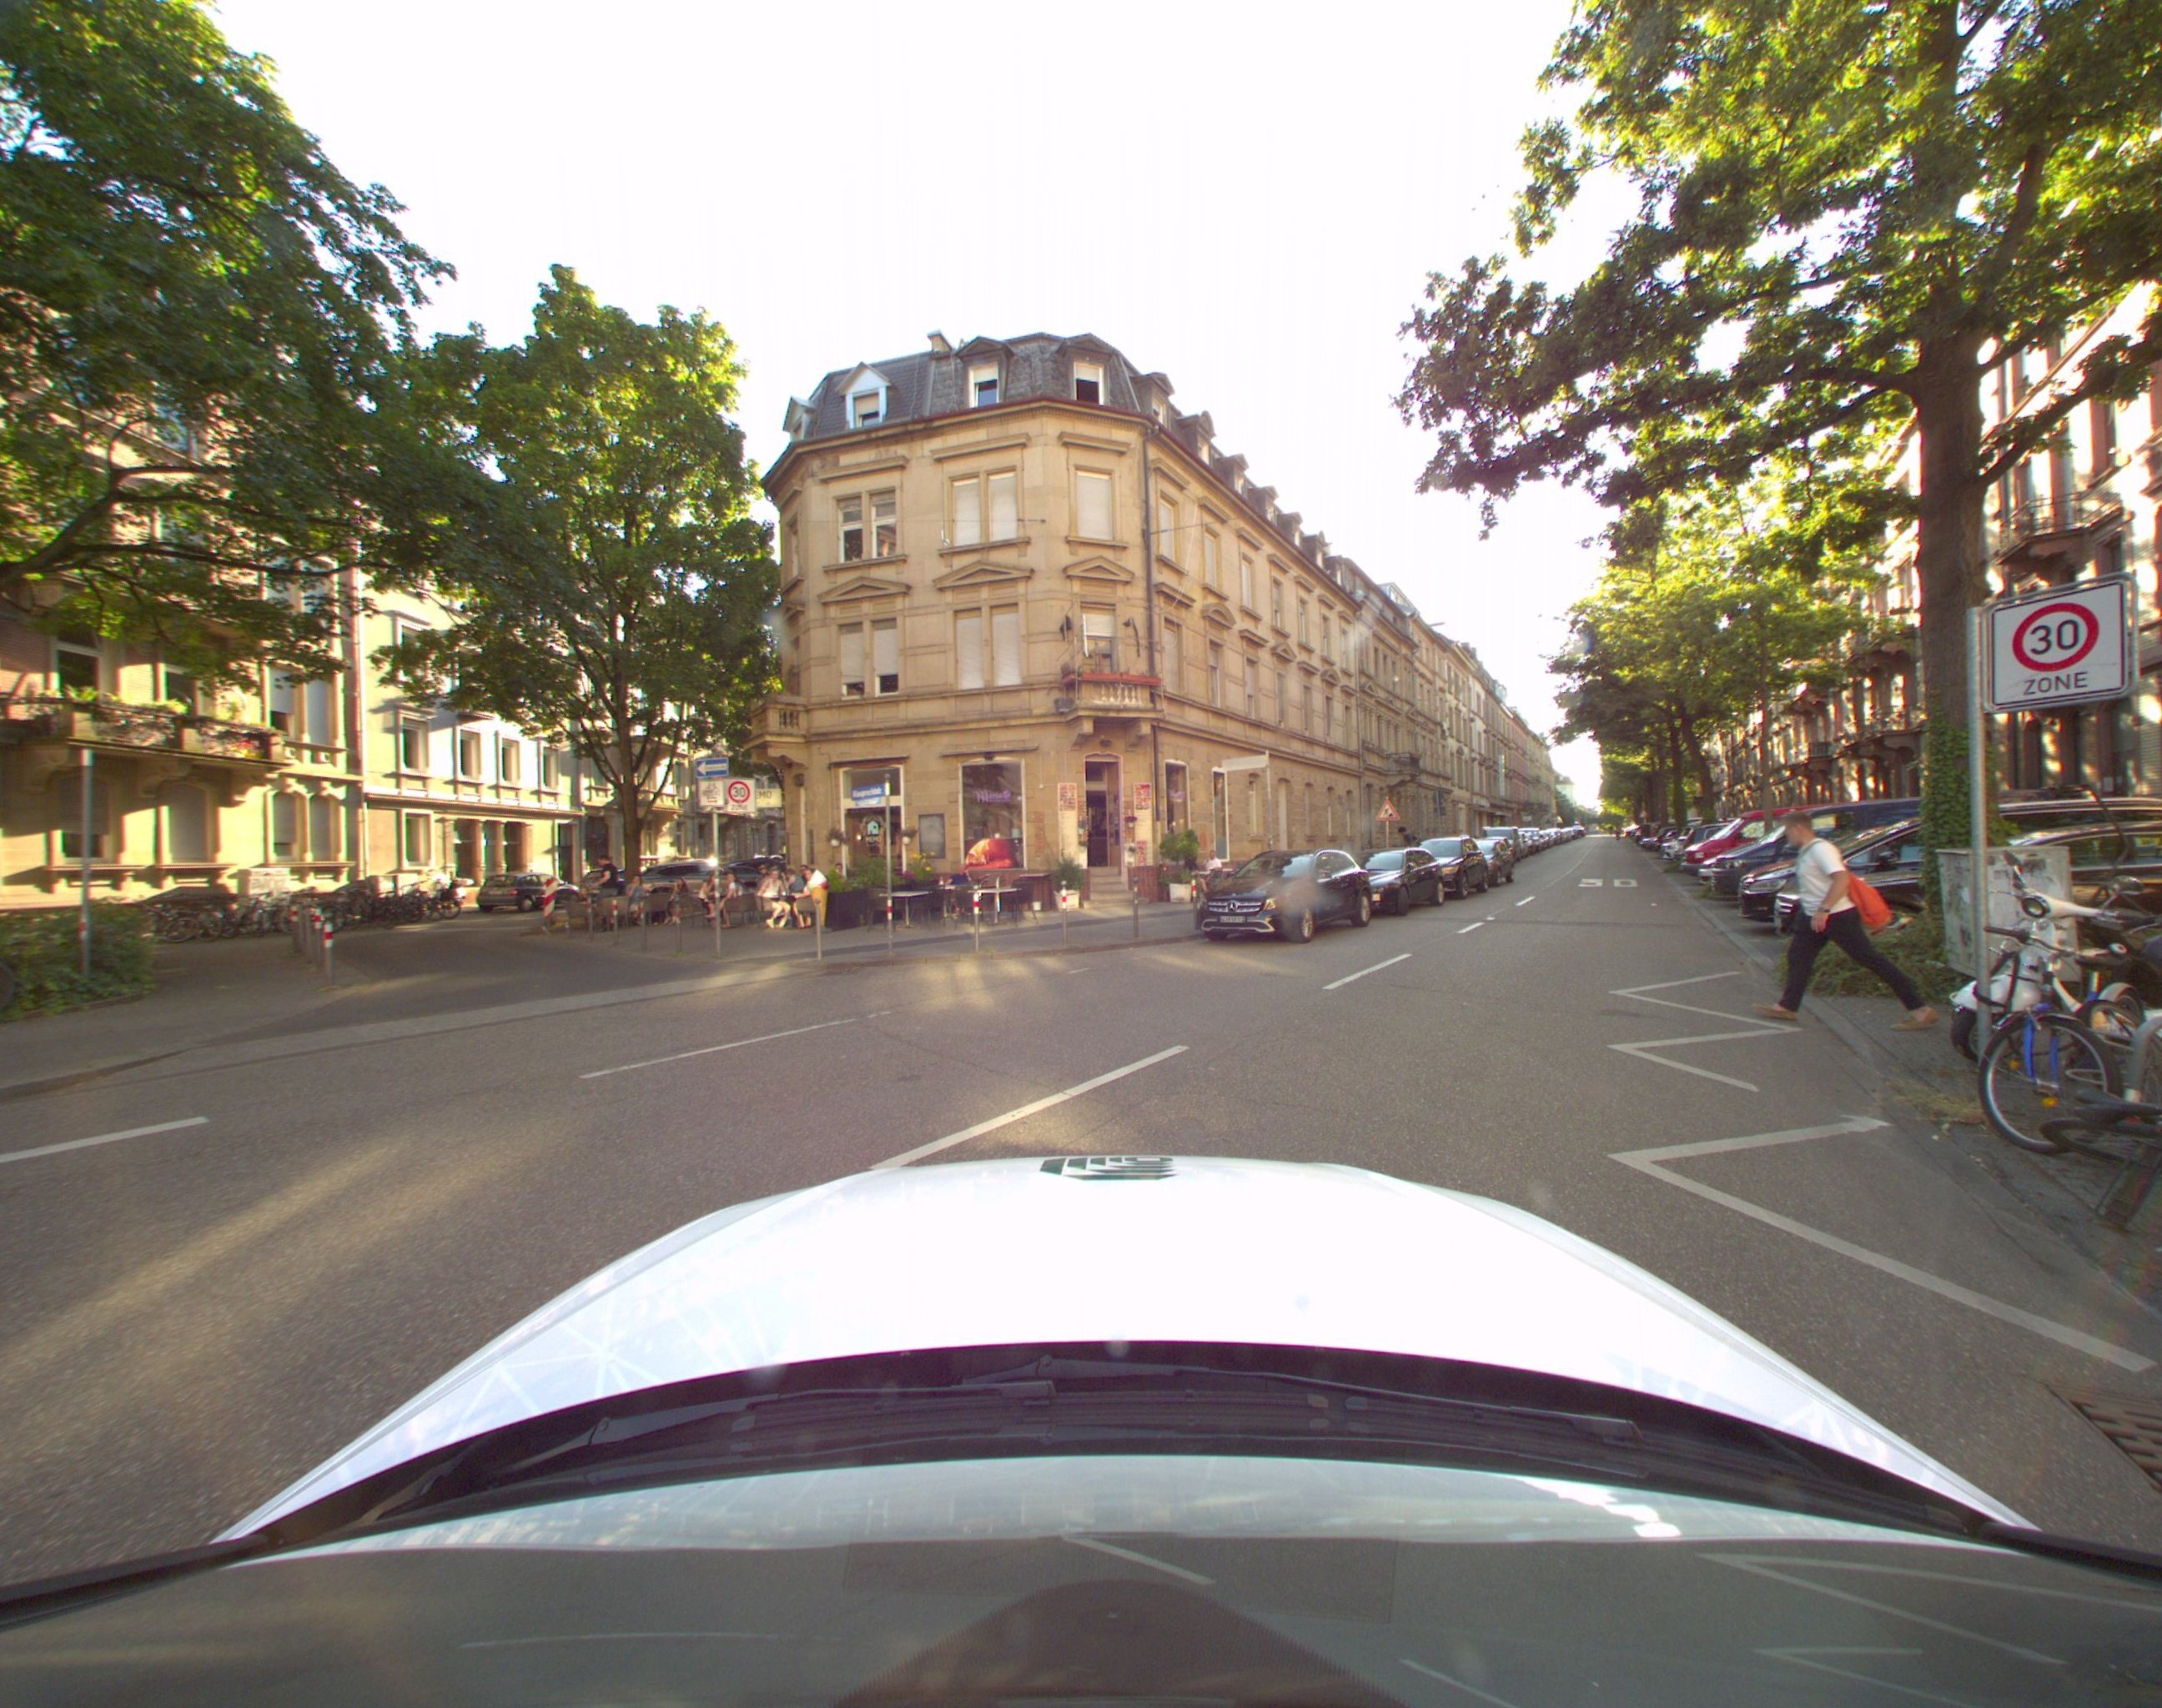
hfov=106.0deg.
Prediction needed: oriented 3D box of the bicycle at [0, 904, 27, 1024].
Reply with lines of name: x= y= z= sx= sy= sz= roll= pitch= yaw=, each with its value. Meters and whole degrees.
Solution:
bicycle: x=-12.026 y=1.163 z=7.394 sx=0.541 sy=1.196 sz=2.978 roll=-2 pitch=0 yaw=38

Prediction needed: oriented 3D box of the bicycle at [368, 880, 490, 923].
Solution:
bicycle: x=-20.392 y=1.476 z=25.513 sx=3.118 sy=1.180 sz=0.751 roll=-2 pitch=0 yaw=-2

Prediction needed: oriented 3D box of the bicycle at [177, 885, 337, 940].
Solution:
bicycle: x=-20.440 y=1.444 z=20.245 sx=3.118 sy=1.180 sz=0.751 roll=-2 pitch=0 yaw=-2

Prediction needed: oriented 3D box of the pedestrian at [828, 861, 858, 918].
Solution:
pedestrian: x=-5.812 y=0.858 z=19.876 sx=0.476 sy=1.367 sz=0.436 roll=-2 pitch=1 yaw=25

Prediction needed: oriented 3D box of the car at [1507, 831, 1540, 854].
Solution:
car: x=30.474 y=-0.804 z=56.016 sx=1.741 sy=1.467 sz=4.026 roll=0 pitch=2 yaw=32

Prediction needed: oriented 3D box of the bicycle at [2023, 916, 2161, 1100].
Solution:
bicycle: x=6.257 y=0.776 z=4.089 sx=1.911 sy=0.927 sz=0.357 roll=-5 pitch=-2 yaw=33

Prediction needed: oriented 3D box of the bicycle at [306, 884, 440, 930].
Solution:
bicycle: x=-20.418 y=1.517 z=23.523 sx=3.118 sy=1.180 sz=0.751 roll=-2 pitch=0 yaw=-2

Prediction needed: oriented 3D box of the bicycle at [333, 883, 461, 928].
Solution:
bicycle: x=-20.431 y=1.538 z=24.368 sx=3.118 sy=1.180 sz=0.751 roll=-2 pitch=0 yaw=-2

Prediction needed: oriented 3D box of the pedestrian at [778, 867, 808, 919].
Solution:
pedestrian: x=-7.095 y=0.958 z=20.048 sx=0.476 sy=1.248 sz=0.436 roll=-2 pitch=1 yaw=31

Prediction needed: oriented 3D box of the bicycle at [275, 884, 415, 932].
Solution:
bicycle: x=-20.465 y=1.498 z=22.678 sx=3.118 sy=1.180 sz=0.751 roll=-2 pitch=0 yaw=-2

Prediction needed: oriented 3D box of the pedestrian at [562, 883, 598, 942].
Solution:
pedestrian: x=-11.881 y=1.370 z=19.311 sx=0.499 sy=1.320 sz=0.575 roll=-2 pitch=1 yaw=44

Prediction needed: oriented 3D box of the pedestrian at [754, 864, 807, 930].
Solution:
pedestrian: x=-6.632 y=0.937 z=17.969 sx=0.748 sy=1.411 sz=0.731 roll=-2 pitch=0 yaw=22

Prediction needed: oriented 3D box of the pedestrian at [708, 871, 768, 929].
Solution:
pedestrian: x=-7.778 y=1.032 z=18.461 sx=1.011 sy=1.248 sz=0.754 roll=-2 pitch=1 yaw=31

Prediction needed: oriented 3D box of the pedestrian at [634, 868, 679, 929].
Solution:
pedestrian: x=-10.500 y=1.091 z=20.129 sx=0.771 sy=1.441 sz=0.660 roll=-3 pitch=-1 yaw=-44

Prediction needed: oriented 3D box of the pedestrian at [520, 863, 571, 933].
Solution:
pedestrian: x=-13.305 y=1.083 z=20.241 sx=0.659 sy=1.669 sz=0.772 roll=-4 pitch=0 yaw=32

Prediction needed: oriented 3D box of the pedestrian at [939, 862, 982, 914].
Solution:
pedestrian: x=-2.897 y=0.814 z=19.632 sx=0.720 sy=1.214 sz=0.760 roll=-2 pitch=0 yaw=15

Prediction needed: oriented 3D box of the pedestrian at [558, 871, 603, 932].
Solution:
pedestrian: x=-12.242 y=1.162 z=19.915 sx=0.771 sy=1.412 sz=0.660 roll=-3 pitch=-1 yaw=-42

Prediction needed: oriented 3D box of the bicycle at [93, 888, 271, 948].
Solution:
bicycle: x=-20.430 y=1.447 z=18.550 sx=3.118 sy=1.180 sz=0.751 roll=-2 pitch=0 yaw=-2

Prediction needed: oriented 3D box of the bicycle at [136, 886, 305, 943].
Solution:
bicycle: x=-20.455 y=1.433 z=19.395 sx=3.118 sy=1.180 sz=0.751 roll=-2 pitch=0 yaw=-2

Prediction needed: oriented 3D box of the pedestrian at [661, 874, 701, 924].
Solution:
pedestrian: x=-10.303 y=1.163 z=20.993 sx=0.659 sy=1.215 sz=0.681 roll=-4 pitch=-1 yaw=44

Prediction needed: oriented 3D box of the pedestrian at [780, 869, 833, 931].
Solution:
pedestrian: x=-5.908 y=0.983 z=17.558 sx=0.736 sy=1.289 sz=0.747 roll=-2 pitch=0 yaw=24

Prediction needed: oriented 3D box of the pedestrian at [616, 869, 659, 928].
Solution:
pedestrian: x=-11.303 y=1.127 z=20.758 sx=0.771 sy=1.441 sz=0.660 roll=-3 pitch=-1 yaw=-44

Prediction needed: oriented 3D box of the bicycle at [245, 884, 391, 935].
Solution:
bicycle: x=-20.446 y=1.479 z=21.867 sx=3.118 sy=1.180 sz=0.751 roll=-2 pitch=0 yaw=-2

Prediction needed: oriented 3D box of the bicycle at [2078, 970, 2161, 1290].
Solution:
bicycle: x=4.325 y=0.822 z=2.334 sx=1.917 sy=0.988 sz=0.498 roll=-4 pitch=-2 yaw=11

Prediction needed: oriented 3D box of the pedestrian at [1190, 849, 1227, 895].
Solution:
pedestrian: x=3.519 y=0.498 z=22.444 sx=0.718 sy=1.214 sz=0.761 roll=-2 pitch=0 yaw=32

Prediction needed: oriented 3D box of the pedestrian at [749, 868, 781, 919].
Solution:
pedestrian: x=-7.961 y=0.992 z=20.519 sx=0.476 sy=1.248 sz=0.514 roll=-2 pitch=1 yaw=31

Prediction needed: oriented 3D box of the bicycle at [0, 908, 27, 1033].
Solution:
bicycle: x=-11.559 y=1.179 z=7.037 sx=0.541 sy=1.196 sz=2.978 roll=-2 pitch=0 yaw=38

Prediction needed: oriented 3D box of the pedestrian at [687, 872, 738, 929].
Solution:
pedestrian: x=-8.553 y=1.065 z=18.914 sx=0.697 sy=1.248 sz=0.754 roll=-2 pitch=1 yaw=31

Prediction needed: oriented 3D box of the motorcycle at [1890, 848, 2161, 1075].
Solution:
motorcycle: x=6.228 y=0.605 z=4.813 sx=1.879 sy=1.234 sz=0.690 roll=-5 pitch=-2 yaw=34

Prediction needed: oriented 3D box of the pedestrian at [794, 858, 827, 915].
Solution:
pedestrian: x=-6.939 y=0.822 z=20.905 sx=0.563 sy=1.431 sz=0.485 roll=-2 pitch=1 yaw=23

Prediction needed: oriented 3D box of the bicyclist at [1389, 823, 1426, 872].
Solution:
bicyclist: x=12.489 y=-0.244 z=31.146 sx=0.986 sy=1.790 sz=1.215 roll=-3 pitch=-4 yaw=35

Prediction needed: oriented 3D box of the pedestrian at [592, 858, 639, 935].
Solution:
pedestrian: x=-11.177 y=0.999 z=19.552 sx=0.771 sy=1.770 sz=0.565 roll=-3 pitch=-1 yaw=-44

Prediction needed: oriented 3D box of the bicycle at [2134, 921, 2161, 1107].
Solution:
bicycle: x=5.134 y=0.819 z=3.524 sx=0.350 sy=0.927 sz=1.535 roll=-6 pitch=-3 yaw=41

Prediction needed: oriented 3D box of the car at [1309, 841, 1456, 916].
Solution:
car: x=7.047 y=0.506 z=18.742 sx=1.741 sy=1.451 sz=4.579 roll=-3 pitch=-1 yaw=39

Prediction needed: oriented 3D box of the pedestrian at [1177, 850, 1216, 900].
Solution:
pedestrian: x=3.038 y=0.551 z=21.370 sx=0.718 sy=1.259 sz=0.761 roll=-2 pitch=0 yaw=32

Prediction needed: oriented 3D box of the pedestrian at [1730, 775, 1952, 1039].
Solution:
pedestrian: x=5.977 y=0.385 z=6.500 sx=1.103 sy=1.898 sz=0.848 roll=-2 pitch=0 yaw=32

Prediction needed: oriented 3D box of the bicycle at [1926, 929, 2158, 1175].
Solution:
bicycle: x=4.759 y=0.900 z=4.016 sx=1.416 sy=0.927 sz=0.351 roll=-3 pitch=-2 yaw=-27

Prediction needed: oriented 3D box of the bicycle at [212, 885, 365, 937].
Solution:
bicycle: x=-20.432 y=1.460 z=21.035 sx=3.118 sy=1.180 sz=0.751 roll=-2 pitch=0 yaw=-2
